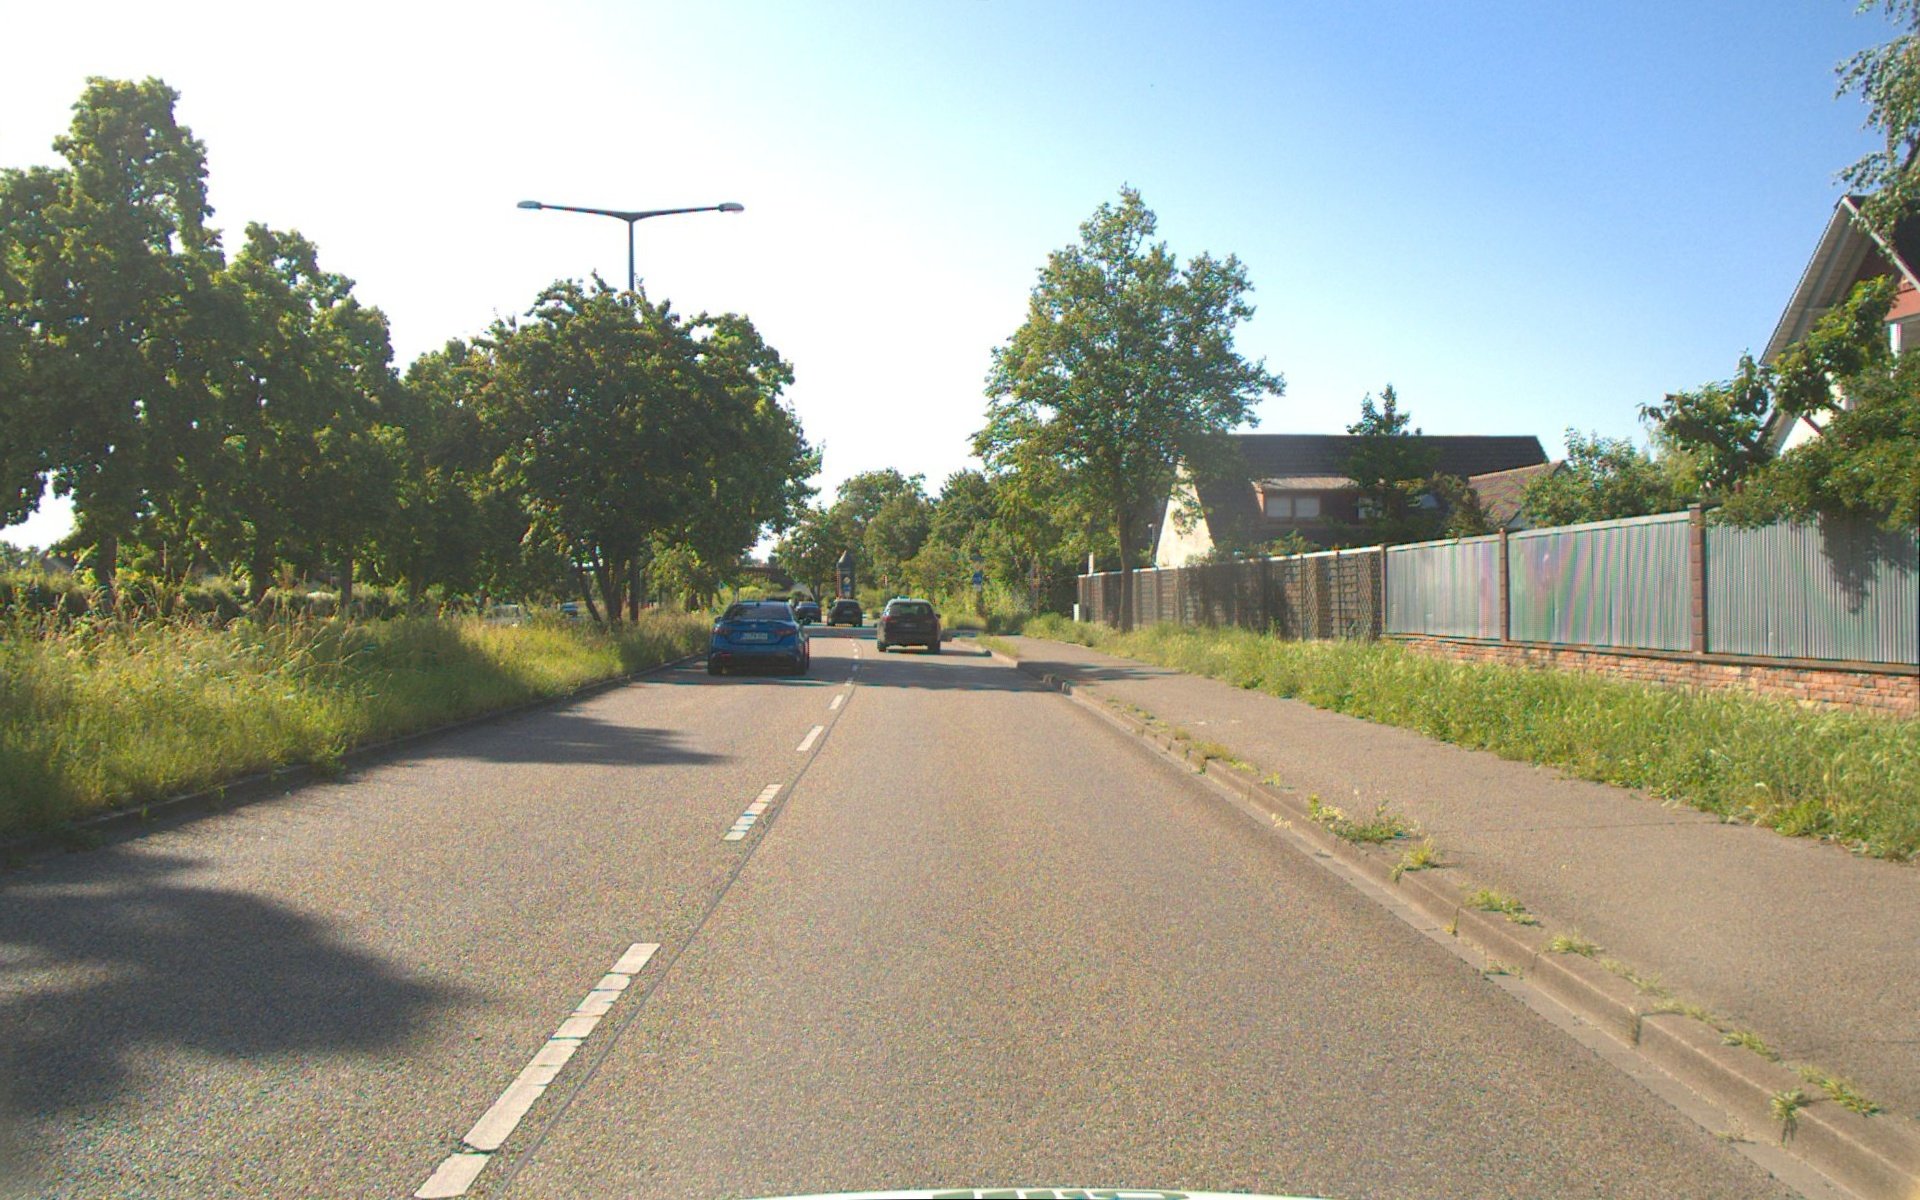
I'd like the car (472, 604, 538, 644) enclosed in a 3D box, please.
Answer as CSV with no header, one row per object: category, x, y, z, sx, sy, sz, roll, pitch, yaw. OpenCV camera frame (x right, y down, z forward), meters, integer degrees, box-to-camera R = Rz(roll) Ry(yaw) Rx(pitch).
car,-18.502,0.958,67.444,1.636,1.493,4.177,-3,0,-3

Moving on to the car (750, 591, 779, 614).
car,-13.712,0.157,115.964,1.879,1.538,4.060,0,0,-8

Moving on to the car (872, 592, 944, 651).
car,-1.537,0.581,47.560,1.878,1.607,4.178,0,0,-5

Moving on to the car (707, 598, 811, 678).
car,-3.943,0.726,32.959,1.802,1.500,4.181,0,-1,-4

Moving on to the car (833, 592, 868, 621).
car,-6.310,0.353,95.228,1.878,1.607,4.177,1,0,-6

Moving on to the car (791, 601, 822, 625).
car,-11.048,0.920,118.794,1.880,1.707,4.003,1,0,-9
